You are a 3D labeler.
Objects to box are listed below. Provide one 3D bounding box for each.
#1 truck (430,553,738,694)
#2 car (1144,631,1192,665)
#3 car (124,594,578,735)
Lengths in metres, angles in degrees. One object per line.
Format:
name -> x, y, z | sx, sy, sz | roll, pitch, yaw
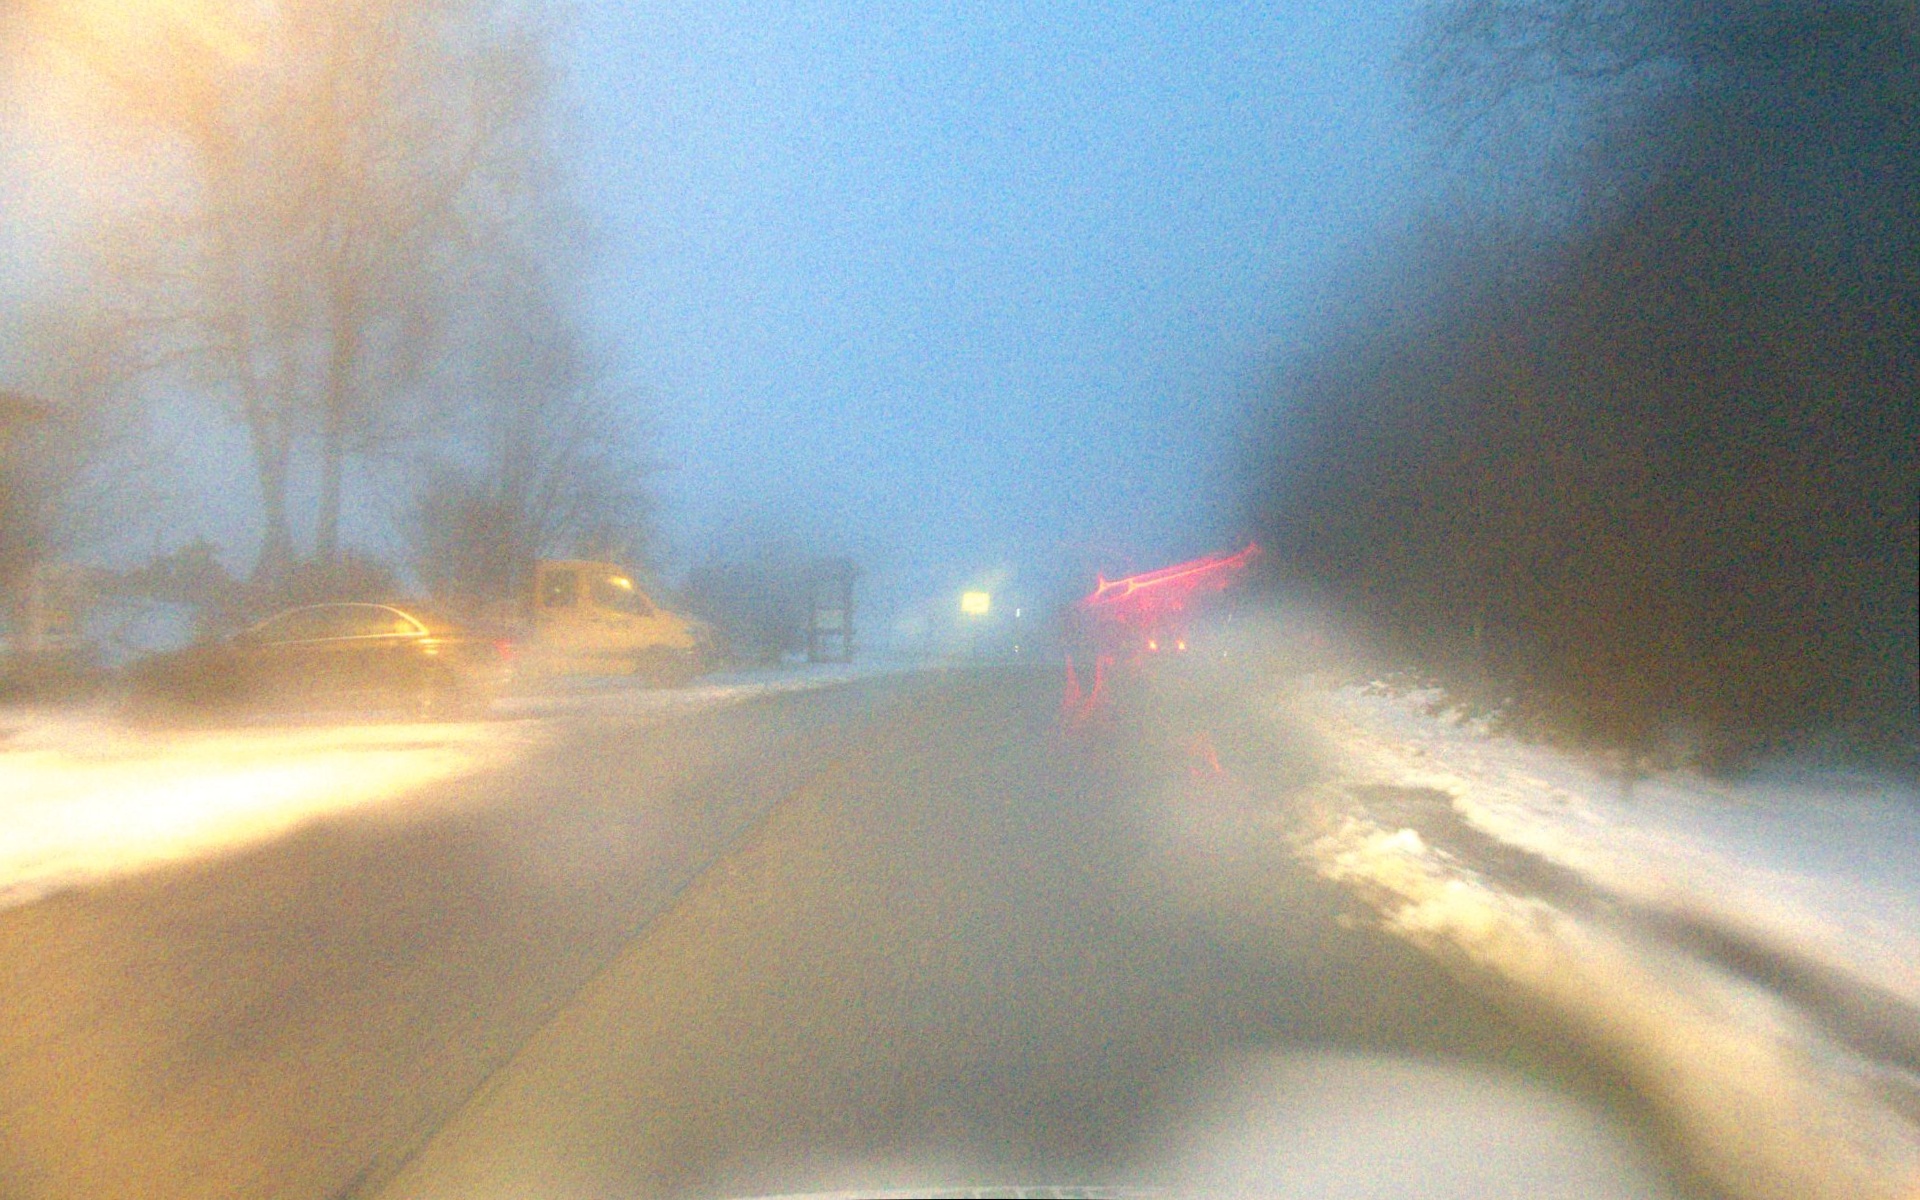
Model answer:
truck -> -6.781, 0.412, 30.267 | 5.156, 2.343, 1.999 | -2, 0, -3
car -> 9.196, 2.152, 73.384 | 1.951, 1.445, 4.002 | 1, -2, 6
car -> -7.377, 0.751, 20.458 | 4.788, 1.511, 2.123 | -2, 0, -2
